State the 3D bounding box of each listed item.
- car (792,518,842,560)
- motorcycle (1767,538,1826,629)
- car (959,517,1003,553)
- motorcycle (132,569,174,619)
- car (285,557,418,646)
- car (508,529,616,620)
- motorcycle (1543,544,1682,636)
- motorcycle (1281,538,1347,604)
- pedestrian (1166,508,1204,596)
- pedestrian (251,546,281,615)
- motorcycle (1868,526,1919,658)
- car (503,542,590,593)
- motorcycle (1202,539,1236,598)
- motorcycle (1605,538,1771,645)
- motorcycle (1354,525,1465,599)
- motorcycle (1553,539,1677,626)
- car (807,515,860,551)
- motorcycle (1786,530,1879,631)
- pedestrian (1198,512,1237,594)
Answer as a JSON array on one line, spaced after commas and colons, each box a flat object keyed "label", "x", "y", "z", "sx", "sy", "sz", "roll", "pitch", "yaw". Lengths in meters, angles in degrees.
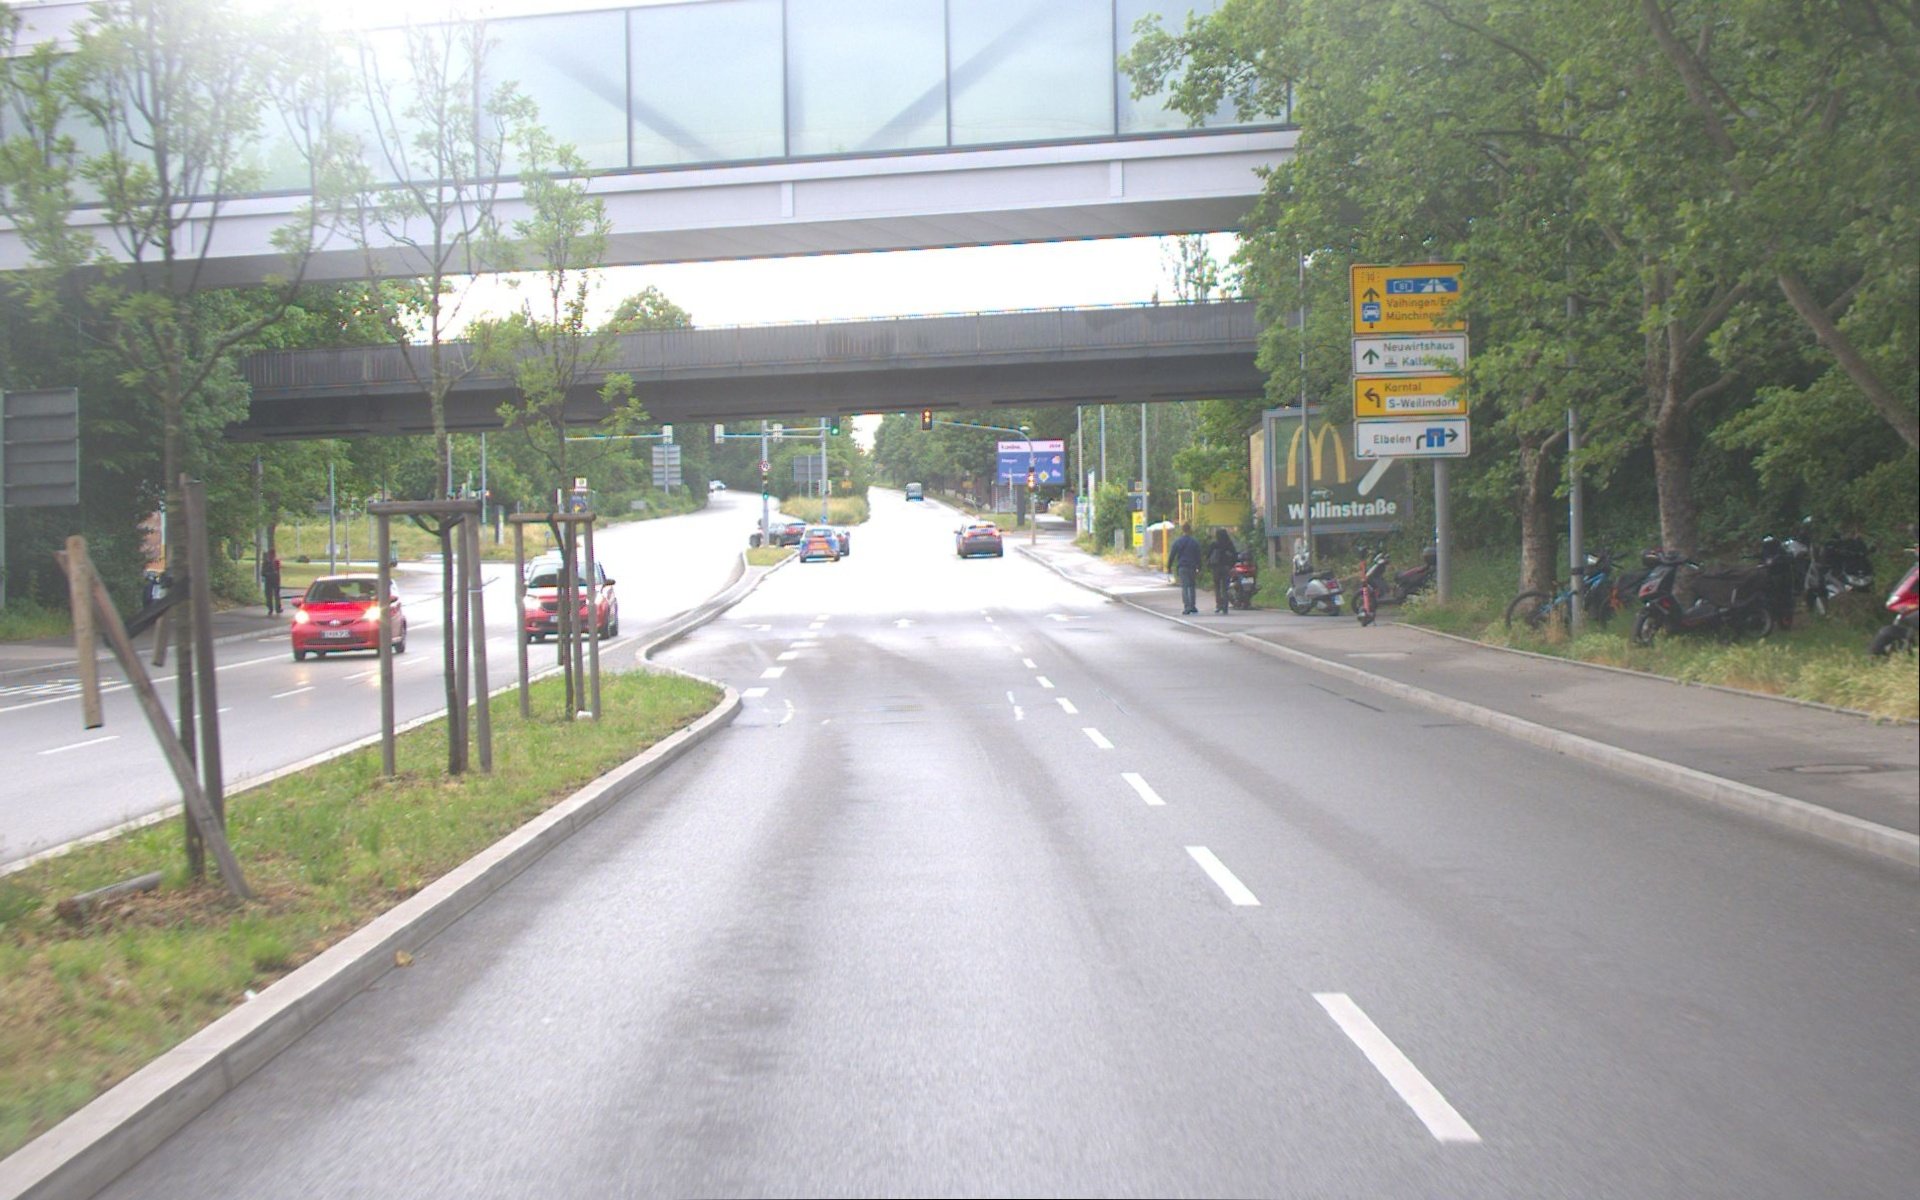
[{"label": "car", "x": -6.136, "y": -2.593, "z": 147.386, "sx": 2.076, "sy": 1.712, "sz": 4.199, "roll": 1, "pitch": 0, "yaw": -3}, {"label": "motorcycle", "x": 12.388, "y": -0.255, "z": 50.892, "sx": 0.348, "sy": 1.275, "sz": 2.068, "roll": -1, "pitch": 1, "yaw": 27}, {"label": "car", "x": 0.877, "y": -2.775, "z": 145.833, "sx": 1.744, "sy": 1.465, "sz": 4.166, "roll": -1, "pitch": 2, "yaw": -2}, {"label": "motorcycle", "x": -19.689, "y": -0.145, "z": 83.919, "sx": 0.468, "sy": 1.154, "sz": 1.932, "roll": -2, "pitch": 2, "yaw": 2}, {"label": "car", "x": -10.667, "y": 0.012, "z": 60.447, "sx": 1.715, "sy": 1.432, "sz": 3.772, "roll": -3, "pitch": 1, "yaw": -2}, {"label": "car", "x": -7.559, "y": -0.493, "z": 65.503, "sx": 1.585, "sy": 1.600, "sz": 3.856, "roll": -3, "pitch": 1, "yaw": -1}, {"label": "motorcycle", "x": 9.320, "y": -0.150, "z": 49.127, "sx": 1.848, "sy": 1.248, "sz": 0.630, "roll": -2, "pitch": 1, "yaw": -16}, {"label": "motorcycle", "x": 6.670, "y": -0.546, "z": 64.866, "sx": 0.469, "sy": 1.209, "sz": 1.945, "roll": -2, "pitch": 1, "yaw": -18}, {"label": "pedestrian", "x": 4.424, "y": -0.944, "z": 67.491, "sx": 0.611, "sy": 1.715, "sz": 0.891, "roll": -2, "pitch": 1, "yaw": 9}, {"label": "pedestrian", "x": -18.533, "y": -0.518, "z": 91.825, "sx": 0.520, "sy": 1.809, "sz": 0.799, "roll": 0, "pitch": 1, "yaw": 9}, {"label": "motorcycle", "x": 8.830, "y": -0.064, "z": 30.058, "sx": 1.653, "sy": 1.146, "sz": 0.493, "roll": 1, "pitch": 0, "yaw": 7}, {"label": "car", "x": -11.940, "y": -0.957, "z": 99.504, "sx": 2.063, "sy": 1.357, "sz": 4.757, "roll": -2, "pitch": 1, "yaw": -2}, {"label": "motorcycle", "x": 5.105, "y": -0.620, "z": 67.796, "sx": 0.469, "sy": 1.133, "sz": 1.819, "roll": -2, "pitch": 1, "yaw": -1}, {"label": "motorcycle", "x": 8.480, "y": -0.104, "z": 40.037, "sx": 1.848, "sy": 1.187, "sz": 0.522, "roll": -2, "pitch": 1, "yaw": -16}, {"label": "motorcycle", "x": 8.234, "y": -0.694, "z": 62.997, "sx": 1.942, "sy": 1.293, "sz": 0.546, "roll": -1, "pitch": 1, "yaw": 34}, {"label": "motorcycle", "x": 9.679, "y": -0.258, "z": 50.835, "sx": 0.628, "sy": 1.248, "sz": 1.854, "roll": -2, "pitch": 1, "yaw": -36}, {"label": "car", "x": -5.933, "y": -3.134, "z": 161.823, "sx": 2.166, "sy": 1.577, "sz": 4.664, "roll": 1, "pitch": 0, "yaw": 2}, {"label": "motorcycle", "x": 11.399, "y": -0.257, "z": 44.981, "sx": 0.645, "sy": 1.275, "sz": 1.991, "roll": -1, "pitch": 1, "yaw": -1}, {"label": "pedestrian", "x": 5.048, "y": -0.919, "z": 67.324, "sx": 0.651, "sy": 1.590, "sz": 0.578, "roll": -2, "pitch": 1, "yaw": 11}]
